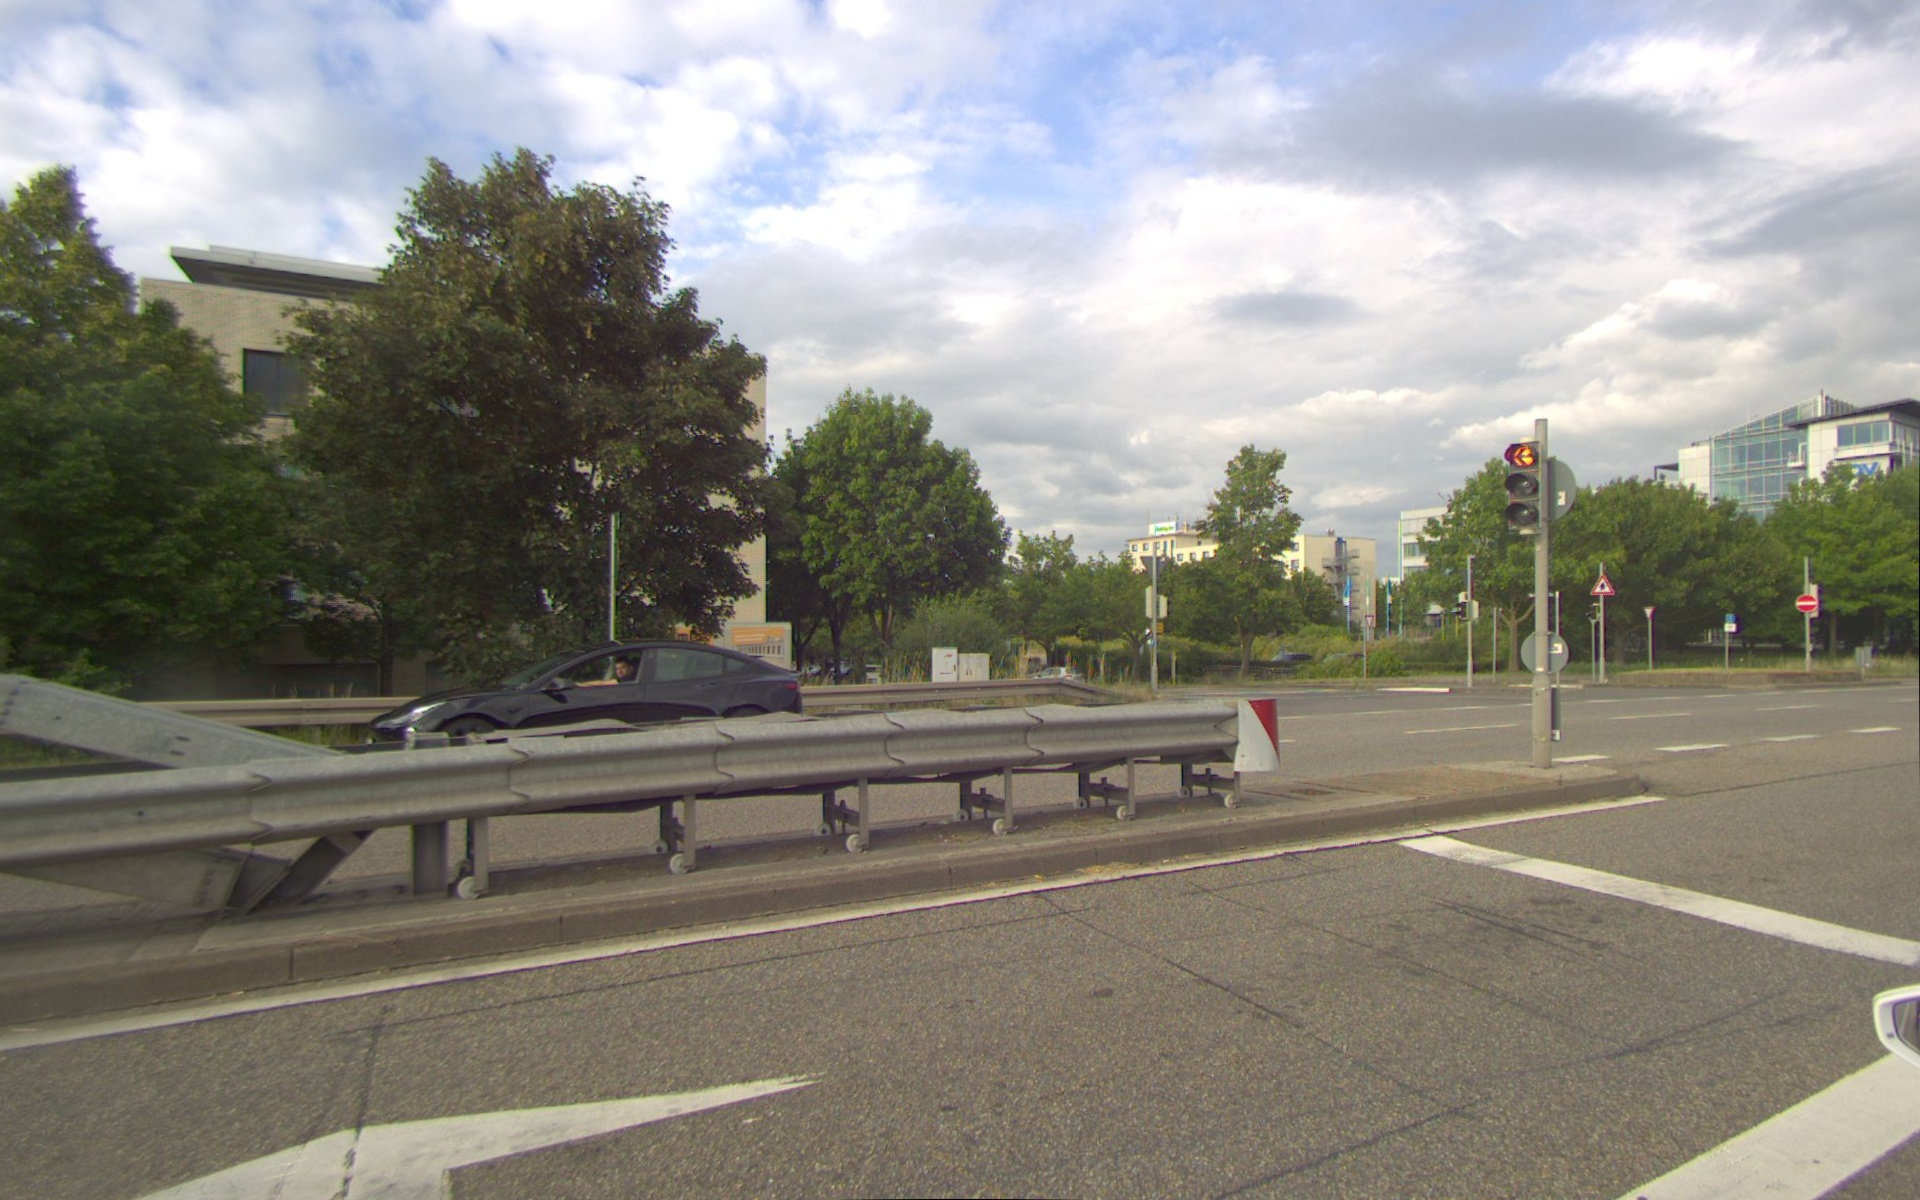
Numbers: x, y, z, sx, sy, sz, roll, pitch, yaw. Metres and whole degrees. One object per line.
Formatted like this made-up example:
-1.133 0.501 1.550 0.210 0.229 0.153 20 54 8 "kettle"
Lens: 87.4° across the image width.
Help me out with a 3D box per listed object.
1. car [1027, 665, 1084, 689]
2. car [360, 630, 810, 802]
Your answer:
5.775 4.703 61.191 1.568 1.359 3.721 1 -5 -31 "car"
-4.058 1.136 11.159 4.331 1.476 1.902 2 0 -36 "car"
